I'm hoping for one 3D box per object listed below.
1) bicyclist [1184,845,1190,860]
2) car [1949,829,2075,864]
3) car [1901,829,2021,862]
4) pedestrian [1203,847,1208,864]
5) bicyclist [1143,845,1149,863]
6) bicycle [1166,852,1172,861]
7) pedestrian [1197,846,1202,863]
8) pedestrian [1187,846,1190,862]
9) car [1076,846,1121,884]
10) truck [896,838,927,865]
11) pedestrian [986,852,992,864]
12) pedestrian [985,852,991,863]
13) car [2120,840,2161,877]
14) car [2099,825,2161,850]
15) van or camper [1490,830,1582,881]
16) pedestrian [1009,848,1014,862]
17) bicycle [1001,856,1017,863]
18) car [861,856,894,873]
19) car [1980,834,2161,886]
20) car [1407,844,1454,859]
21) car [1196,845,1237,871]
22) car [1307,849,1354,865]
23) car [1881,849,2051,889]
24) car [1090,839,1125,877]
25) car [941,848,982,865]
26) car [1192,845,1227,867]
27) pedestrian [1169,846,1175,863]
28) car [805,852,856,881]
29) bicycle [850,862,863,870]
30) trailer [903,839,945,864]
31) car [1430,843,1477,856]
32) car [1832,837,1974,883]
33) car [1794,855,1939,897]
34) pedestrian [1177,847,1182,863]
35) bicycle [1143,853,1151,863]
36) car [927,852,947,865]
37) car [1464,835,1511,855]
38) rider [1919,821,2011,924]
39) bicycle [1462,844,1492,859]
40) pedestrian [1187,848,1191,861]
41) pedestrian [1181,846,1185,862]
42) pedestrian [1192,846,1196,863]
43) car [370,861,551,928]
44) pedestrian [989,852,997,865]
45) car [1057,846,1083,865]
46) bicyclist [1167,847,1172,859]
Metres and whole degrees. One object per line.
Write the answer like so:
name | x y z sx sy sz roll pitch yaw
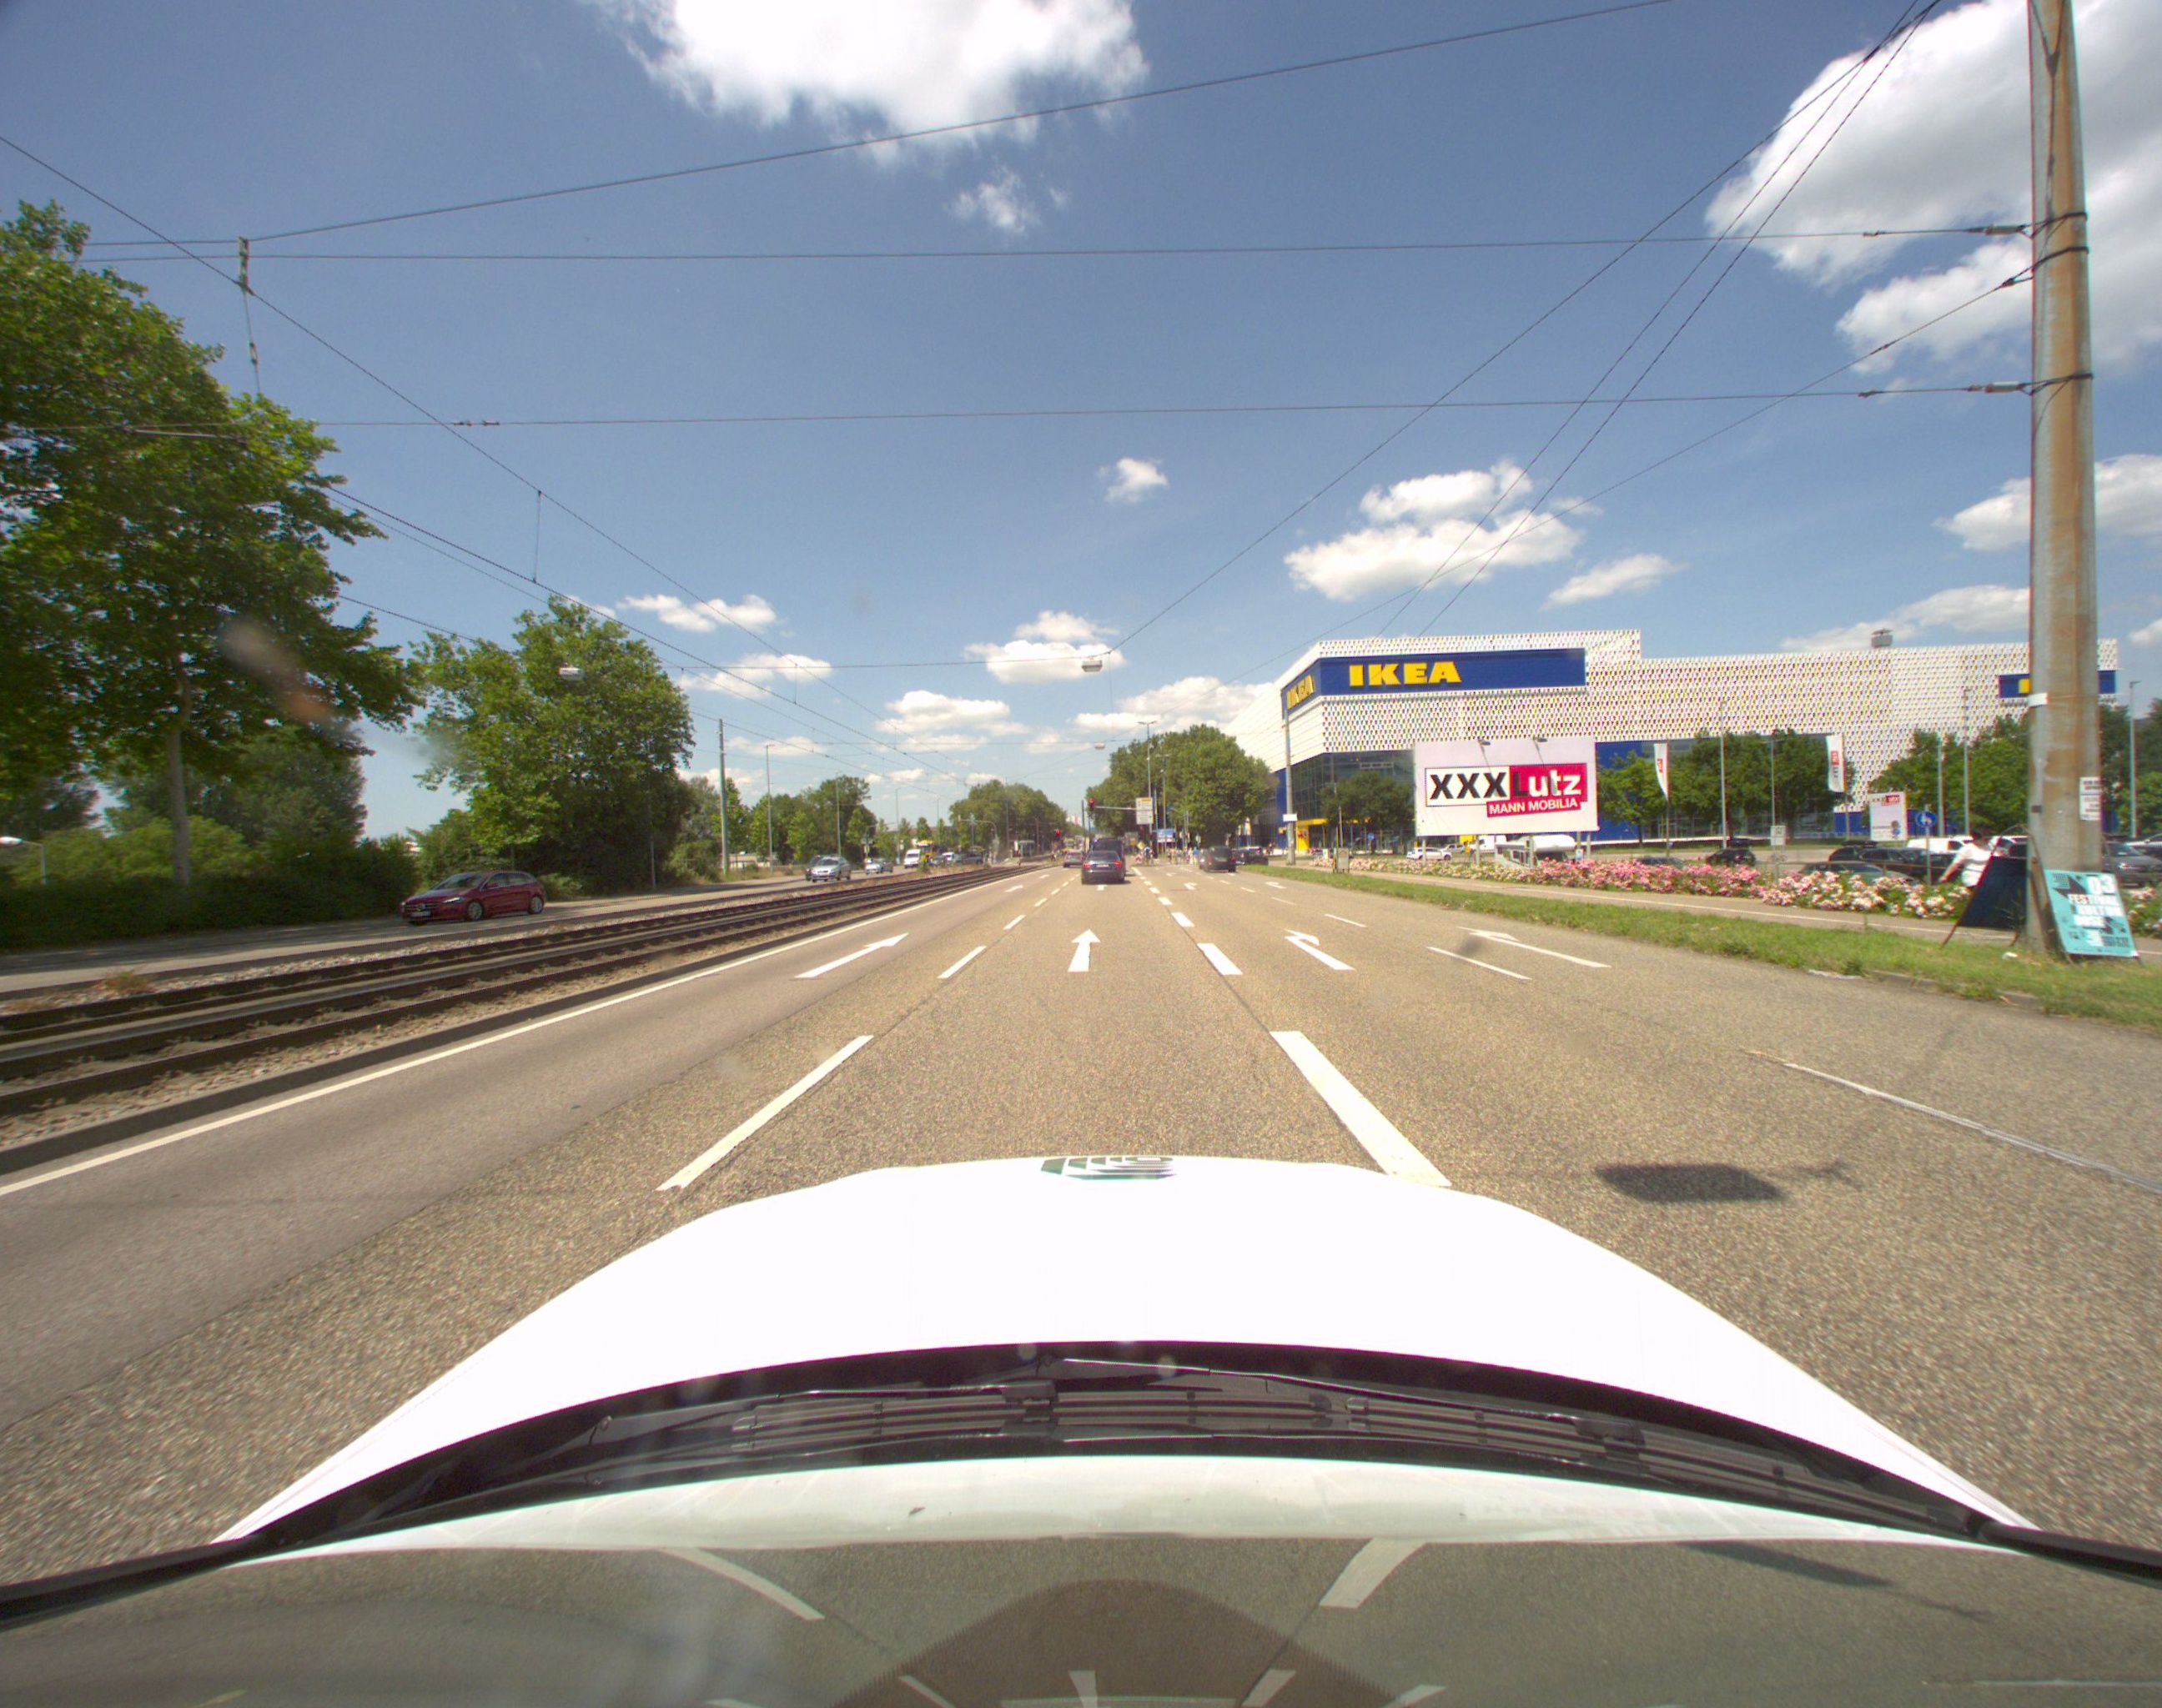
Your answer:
bicyclist | 12.125 -0.152 92.978 0.525 1.764 0.831 -1 0 15
car | 55.834 -0.437 49.000 1.986 2.007 5.004 -1 0 2
car | 53.278 -0.494 49.470 1.986 1.852 5.004 -1 0 2
pedestrian | 12.642 0.131 82.781 0.518 1.670 0.495 -1 0 5
bicyclist | 6.478 0.015 81.022 0.526 1.789 1.089 -1 0 3
bicycle | 8.932 0.268 82.575 0.547 0.877 1.700 -1 0 5
pedestrian | 12.022 0.053 82.820 0.501 1.635 0.449 -1 0 5
pedestrian | 10.950 -0.037 82.850 0.337 1.635 0.377 -1 0 5
car | 0.811 0.437 35.579 1.785 1.455 4.002 -2 1 2
truck | -23.512 -0.318 113.441 2.757 3.569 6.443 -1 0 2
pedestrian | -11.762 0.505 104.542 0.683 1.637 0.572 -1 0 -2
pedestrian | -12.014 0.476 105.387 0.683 1.443 0.572 -1 0 -2
car | 47.418 0.185 33.950 1.986 1.610 5.004 -1 0 2
car | 70.412 -1.064 52.974 1.989 1.610 4.995 -1 0 -3
van or camper | 29.271 0.059 52.763 2.494 3.020 7.235 -1 0 6
pedestrian | -9.844 0.174 115.616 0.683 2.013 0.572 -1 0 -2
bicycle | -9.276 0.702 105.000 2.054 0.925 0.751 -1 0 -8
car | -19.640 1.026 78.817 1.814 1.415 3.889 -4 0 5
car | 42.322 0.210 34.758 1.986 2.013 5.538 -1 0 2
car | 36.979 -0.269 86.195 4.381 1.486 1.991 0 1 -14
car | 8.180 0.225 49.366 1.986 1.486 4.002 0 1 2
car | 24.273 0.247 79.233 4.149 1.486 1.985 0 1 -23
car | 37.537 0.585 34.787 1.986 1.550 5.004 -1 0 2
car | 1.463 0.181 45.167 1.830 1.950 4.002 -1 1 2
car | -13.599 0.291 92.652 4.409 1.918 1.988 0 1 -19
car | 9.212 0.103 58.757 1.986 1.486 4.169 0 1 2
pedestrian | 9.065 0.023 80.868 0.551 1.635 0.433 -1 0 5
car | -15.185 0.718 49.523 1.680 1.583 4.059 -4 0 0
bicycle | -28.956 1.521 105.096 1.487 0.987 0.485 -1 0 -2
trailer | -23.235 -0.358 121.695 2.756 3.518 15.885 -1 0 2
car | 42.771 -0.502 93.636 4.475 1.486 2.003 0 1 5
car | 40.303 0.265 40.152 1.986 2.013 5.004 -3 0 2
car | 32.953 0.871 34.373 1.986 1.496 4.305 -4 0 2
pedestrian | 9.773 0.079 80.871 0.443 1.635 0.430 -1 0 5
bicycle | 6.579 0.391 81.528 0.685 0.993 2.753 -1 0 3
car | -19.986 0.632 112.863 1.815 1.670 4.464 0 0 2
car | 50.404 -1.132 101.015 4.738 2.309 2.002 -1 0 4
rider | 12.993 0.263 11.988 0.666 1.457 0.618 -1 0 1
bicycle | 38.213 -0.236 78.696 2.410 1.481 0.990 -1 0 6
pedestrian | 10.684 0.023 80.803 0.371 1.303 0.365 -1 0 5
pedestrian | 10.424 -0.011 82.941 0.379 1.635 0.377 -1 0 5
pedestrian | 11.194 0.068 80.758 0.319 1.635 0.377 -1 0 5
car | -18.863 1.156 25.080 1.987 1.670 4.468 -3 0 0
pedestrian | -11.655 0.571 107.895 0.816 1.720 0.779 -1 0 24
car | -0.893 0.118 68.689 1.986 1.486 4.002 0 1 2
bicyclist | 8.984 -0.100 83.025 0.468 1.193 0.792 -1 0 5
